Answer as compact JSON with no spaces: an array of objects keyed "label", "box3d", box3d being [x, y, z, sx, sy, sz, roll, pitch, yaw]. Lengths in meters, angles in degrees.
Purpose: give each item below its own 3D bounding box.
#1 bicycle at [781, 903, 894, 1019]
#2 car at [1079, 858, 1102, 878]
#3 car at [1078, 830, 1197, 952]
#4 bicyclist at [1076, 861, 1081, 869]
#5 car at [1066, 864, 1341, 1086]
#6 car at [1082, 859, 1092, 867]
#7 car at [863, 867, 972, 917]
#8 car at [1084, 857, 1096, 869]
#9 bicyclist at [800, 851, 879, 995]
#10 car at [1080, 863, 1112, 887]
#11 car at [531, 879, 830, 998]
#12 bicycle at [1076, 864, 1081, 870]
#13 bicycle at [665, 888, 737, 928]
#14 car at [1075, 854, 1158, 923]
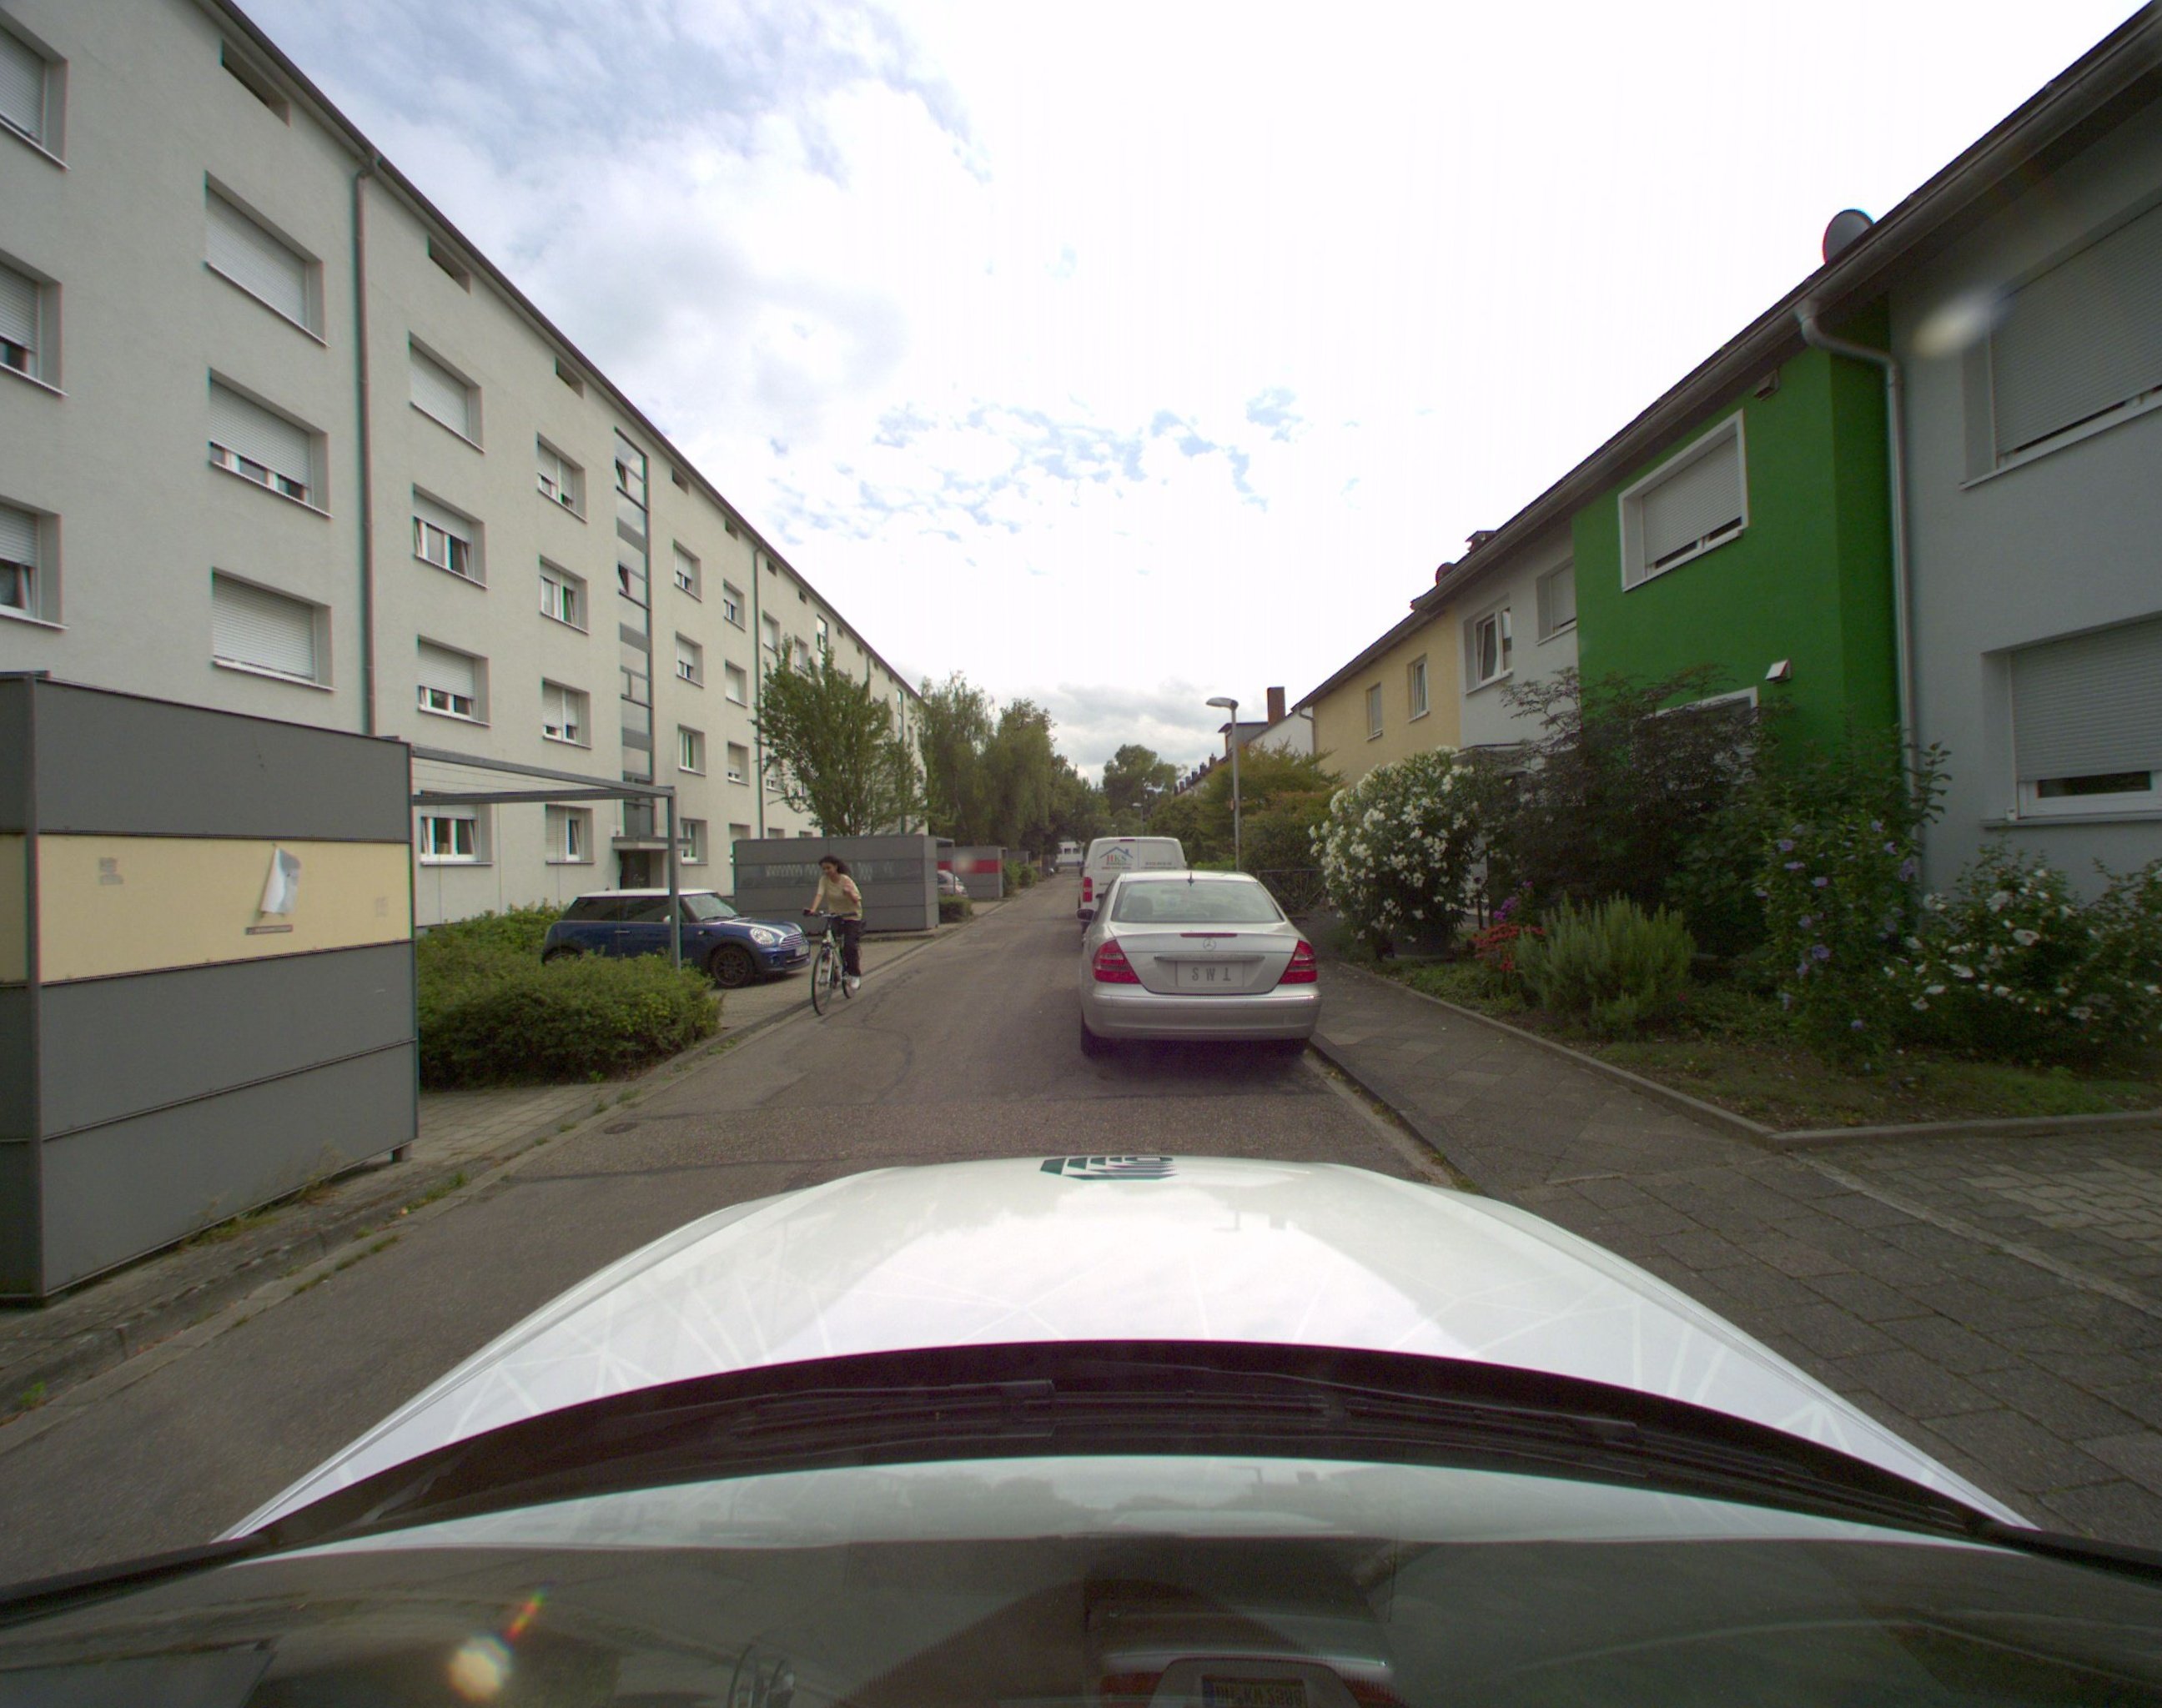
[{"label":"bicycle","box3d":[-2.773,1.175,9.513,0.595,1.076,2.043,-3,-1,2]},{"label":"car","box3d":[0.752,1.151,67.921,1.820,1.581,3.998,0,0,-1]},{"label":"car","box3d":[0.911,0.628,15.891,1.898,1.964,5.252,-1,-1,0]},{"label":"bicyclist","box3d":[-0.414,2.019,149.467,0.795,1.511,0.934,0,-1,2]},{"label":"car","box3d":[0.871,0.821,7.561,1.777,1.421,4.457,-1,-1,2]},{"label":"car","box3d":[1.222,1.807,165.632,1.819,1.581,4.000,0,0,1]},{"label":"car","box3d":[-5.771,1.329,29.089,3.555,1.480,1.708,-3,0,-5]},{"label":"car","box3d":[1.423,1.336,124.589,1.819,1.883,4.000,0,0,1]},{"label":"bicyclist","box3d":[-2.799,0.773,9.496,0.595,1.581,0.767,-3,-1,1]},{"label":"car","box3d":[0.896,1.225,49.029,1.819,1.370,4.331,0,0,1]},{"label":"car","box3d":[-5.908,1.216,12.272,3.619,1.461,1.654,-3,-1,3]},{"label":"bicycle","box3d":[-0.420,2.323,149.429,0.686,1.131,2.580,0,-1,2]},{"label":"bicycle","box3d":[-11.018,1.554,23.666,1.820,1.024,0.473,-2,-1,-41]},{"label":"car","box3d":[0.838,0.837,21.599,1.820,1.636,4.157,-1,-1,-3]}]
